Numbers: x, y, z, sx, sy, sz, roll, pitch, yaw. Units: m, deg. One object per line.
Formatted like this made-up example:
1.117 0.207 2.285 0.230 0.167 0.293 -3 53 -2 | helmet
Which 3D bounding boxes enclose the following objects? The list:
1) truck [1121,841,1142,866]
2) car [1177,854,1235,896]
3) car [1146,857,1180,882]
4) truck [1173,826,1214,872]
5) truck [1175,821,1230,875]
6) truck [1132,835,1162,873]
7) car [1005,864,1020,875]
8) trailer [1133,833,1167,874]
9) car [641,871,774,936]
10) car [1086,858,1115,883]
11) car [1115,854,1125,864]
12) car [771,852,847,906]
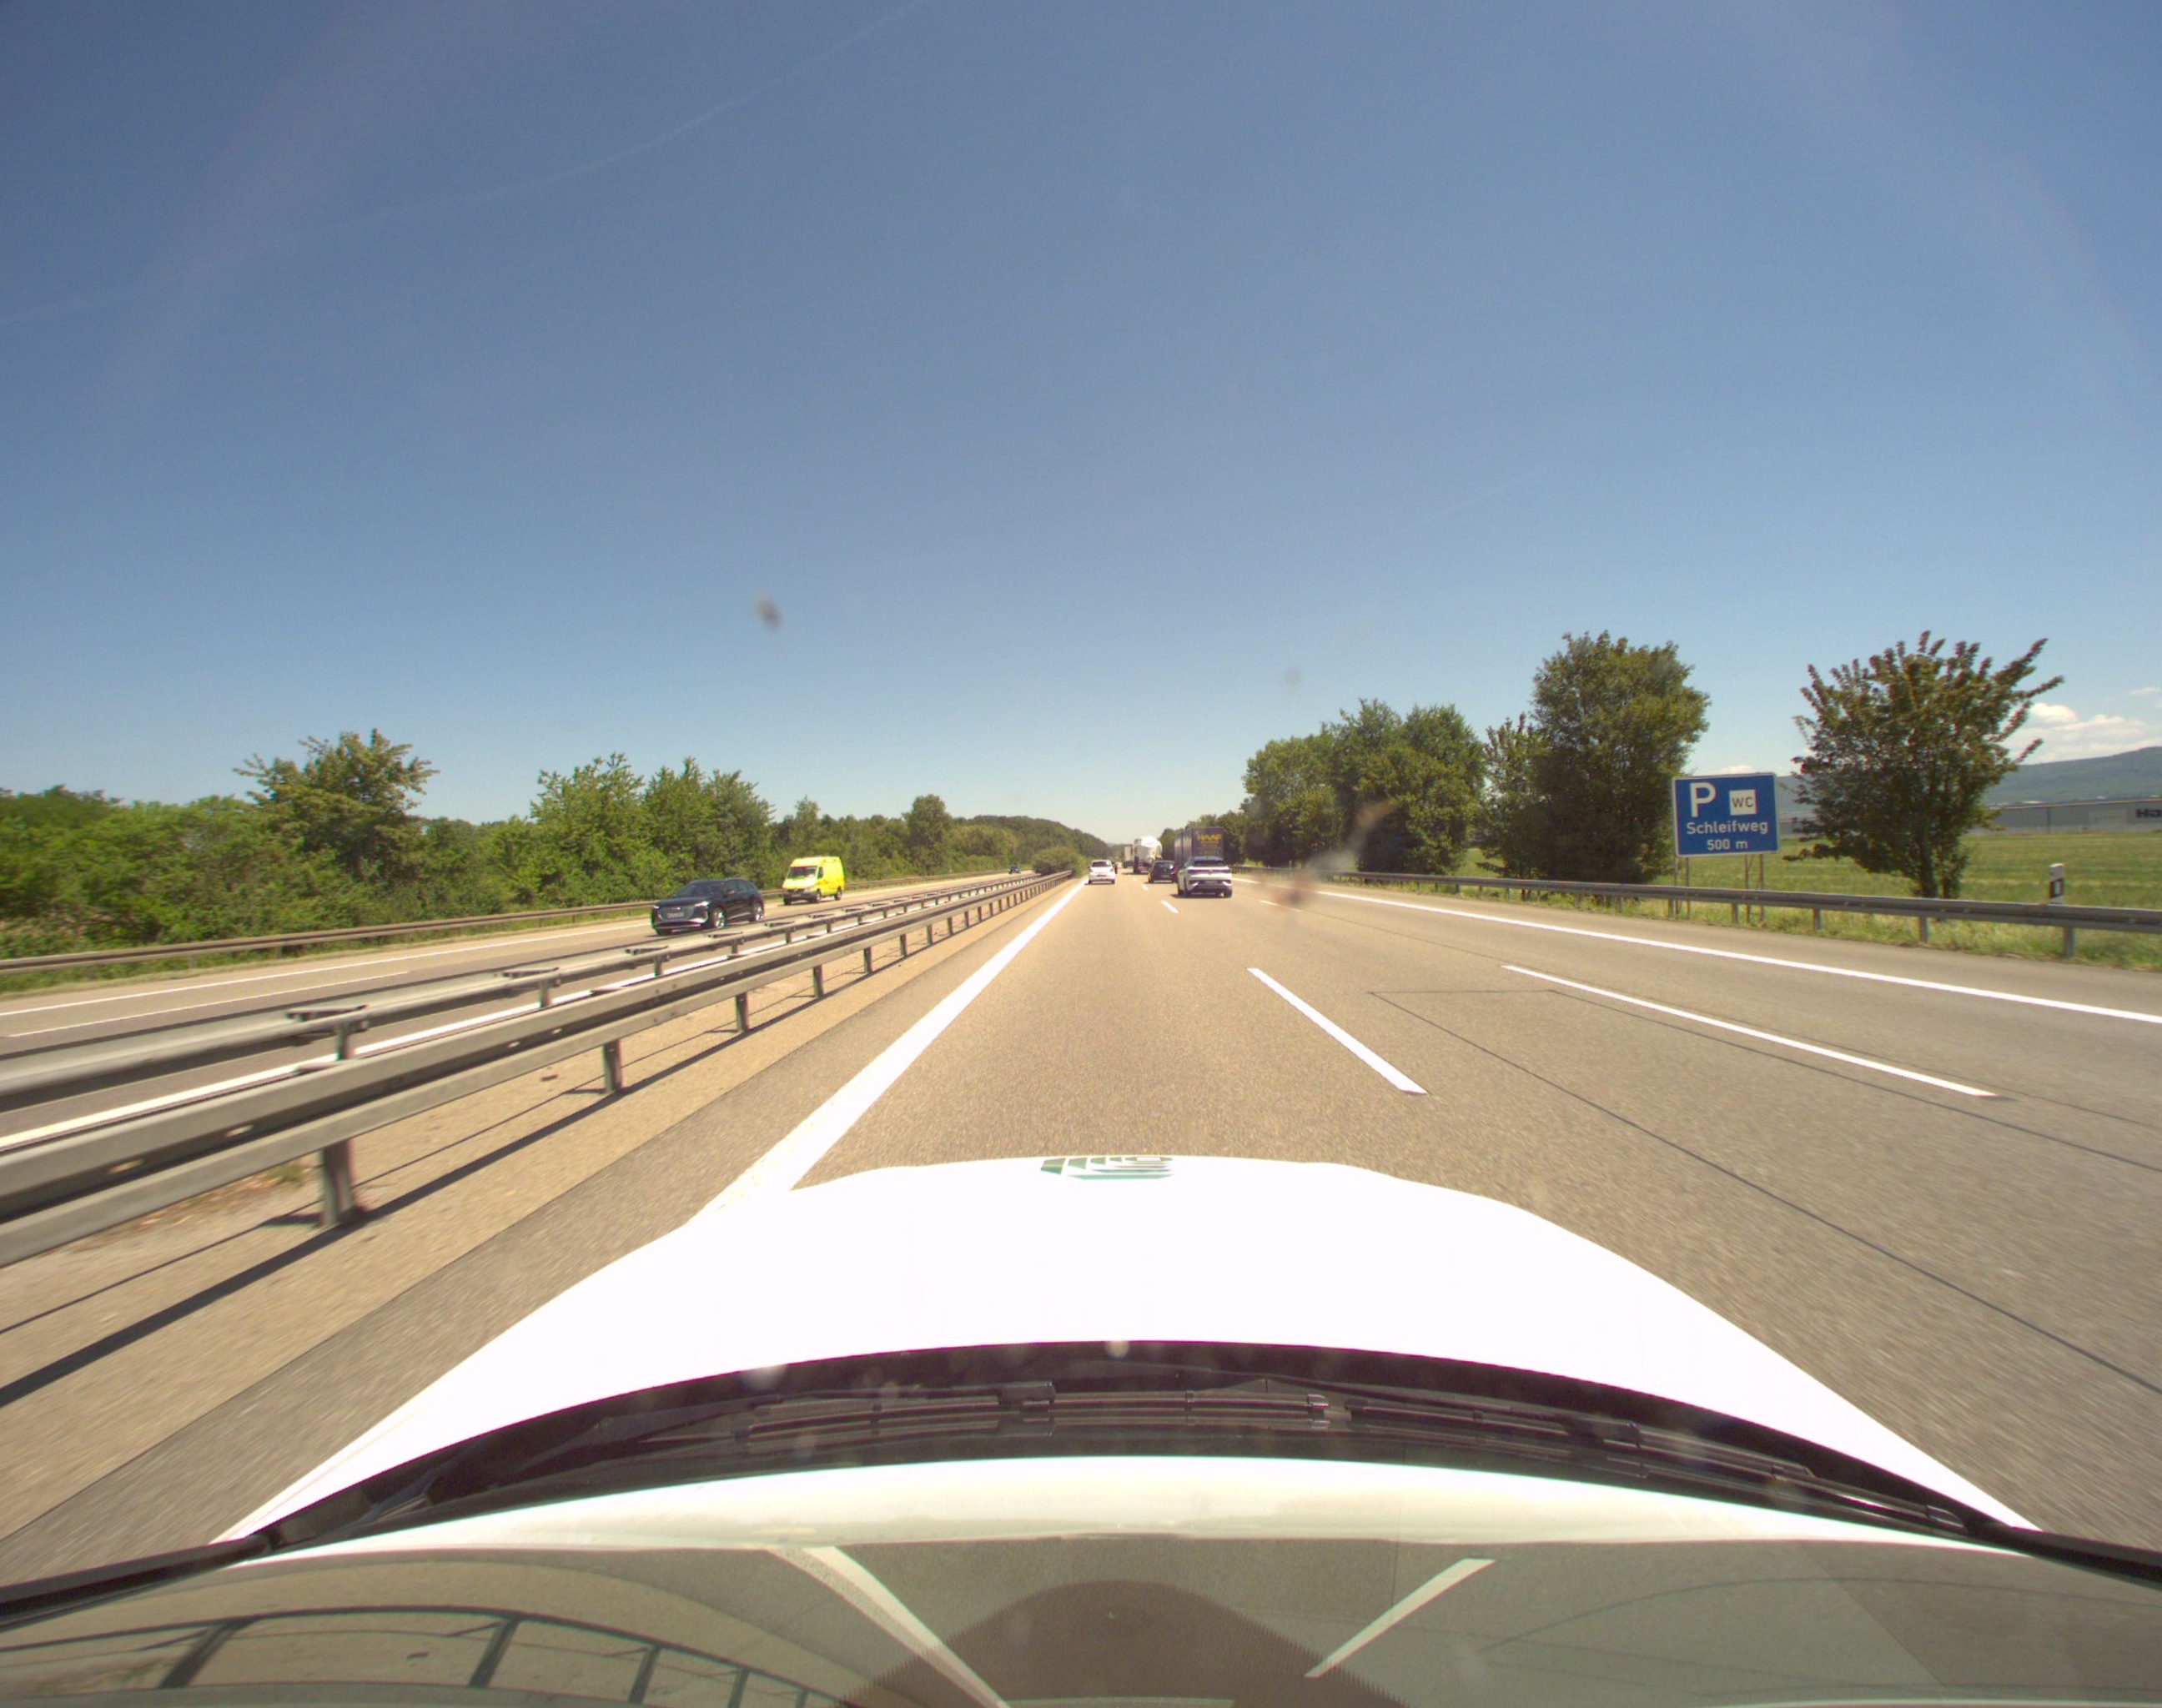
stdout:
8.918 -0.102 144.658 3.381 4.214 12.090 0 0 3 | truck
4.984 0.802 32.967 1.795 1.603 4.382 0 0 2 | car
5.188 0.982 51.761 1.843 1.523 3.958 0 0 2 | car
10.594 -0.422 77.376 3.096 4.139 8.061 0 0 2 | truck
10.346 -0.427 71.143 3.096 4.139 15.520 0 0 3 | truck
7.342 0.024 91.016 2.901 4.079 7.196 0 0 1 | truck
-12.035 2.689 143.198 1.917 1.717 4.289 -2 0 2 | car
7.240 0.003 86.717 2.901 4.069 12.421 0 0 1 | trailer
-11.599 1.472 25.680 1.861 1.690 4.628 -4 0 1 | car
1.236 1.008 51.931 1.793 1.552 3.610 0 0 1 | car
9.321 1.230 194.689 2.465 2.354 5.184 0 0 2 | car
-15.501 1.357 46.840 2.157 2.779 5.801 -4 0 1 | car
